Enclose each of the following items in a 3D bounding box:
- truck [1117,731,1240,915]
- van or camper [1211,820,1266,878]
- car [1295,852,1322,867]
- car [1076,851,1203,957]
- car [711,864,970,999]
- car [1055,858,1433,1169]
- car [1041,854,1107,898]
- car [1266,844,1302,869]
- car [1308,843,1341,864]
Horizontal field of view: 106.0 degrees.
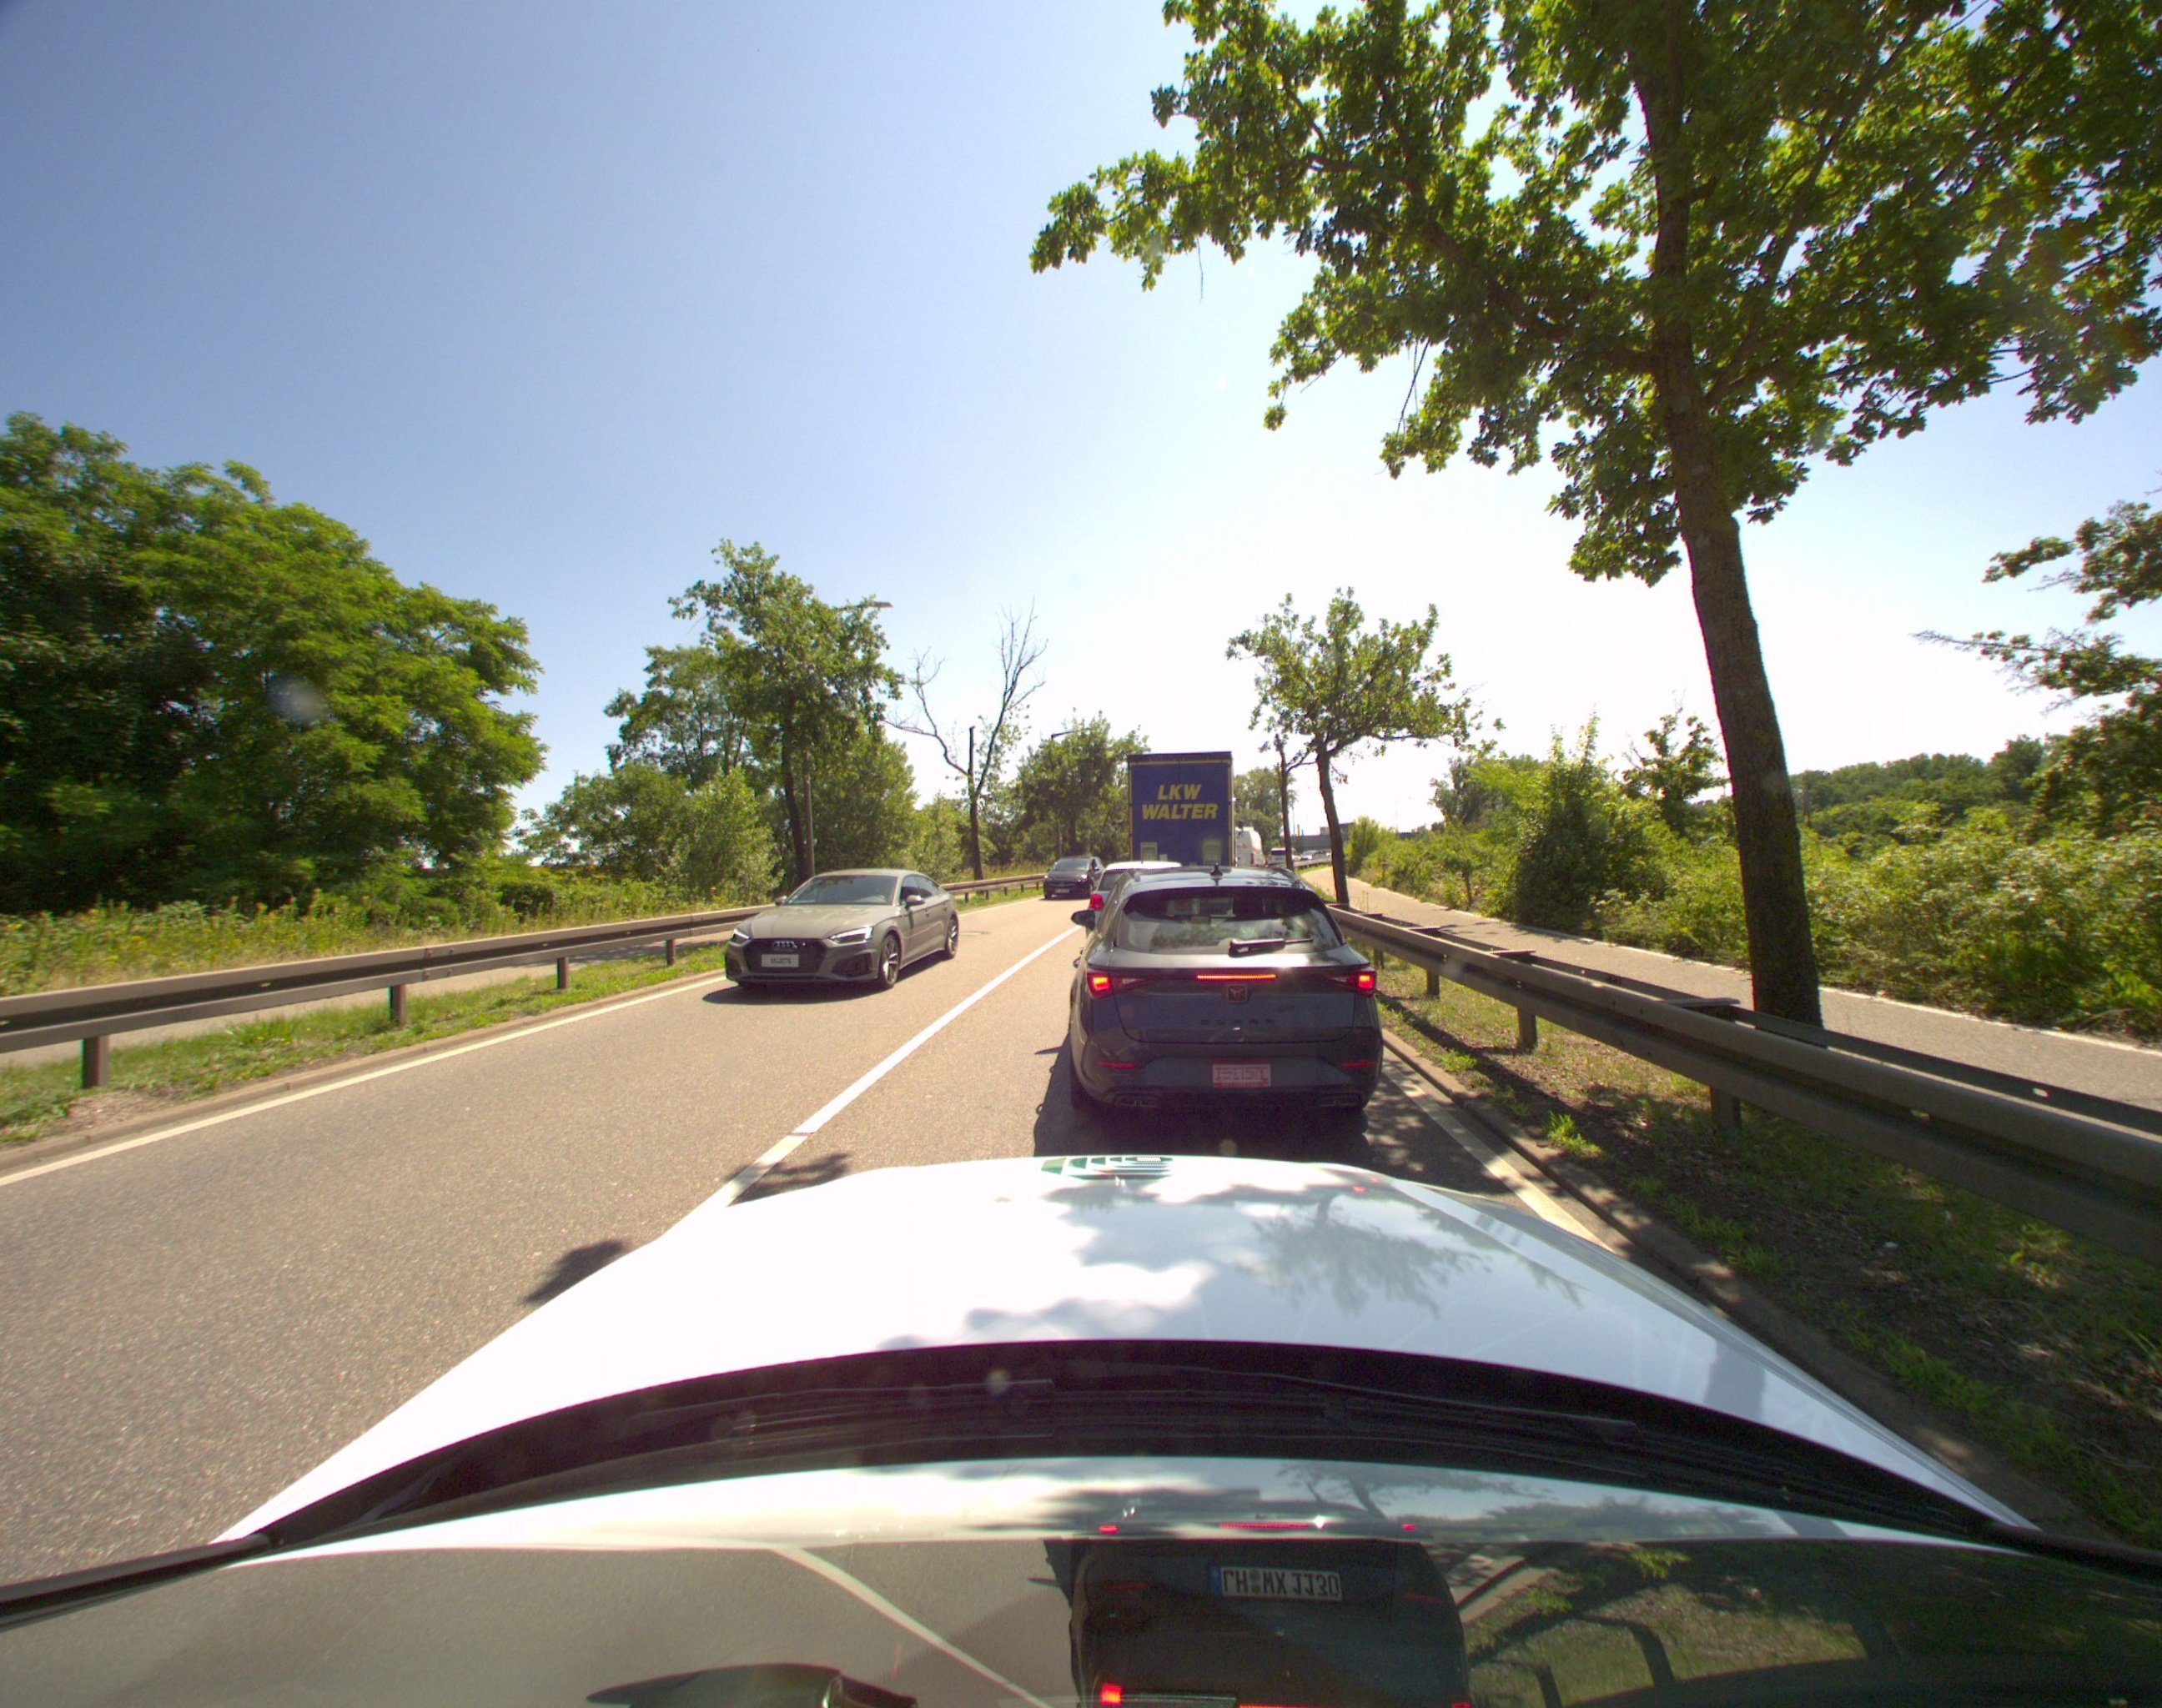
[{"bbox_3d":[3.944,-0.727,28.174,2.931,4.449,16.848,-1,0,11],"label":"truck"},{"bbox_3d":[8.813,-0.242,45.203,2.448,2.998,6.111,-1,0,16],"label":"van or camper"},{"bbox_3d":[23.015,0.499,82.276,1.655,1.466,3.844,-1,0,31],"label":"car"},{"bbox_3d":[0.962,0.723,13.649,1.801,1.508,4.004,-1,0,4],"label":"car"},{"bbox_3d":[-2.909,0.862,10.983,1.750,1.396,4.414,-1,0,6],"label":"car"},{"bbox_3d":[0.833,0.752,5.733,1.737,1.432,3.882,-1,0,2],"label":"car"},{"bbox_3d":[-0.188,0.760,29.534,1.660,1.466,3.831,-1,0,11],"label":"car"},{"bbox_3d":[14.558,0.184,58.263,1.977,1.712,4.643,-1,0,20],"label":"car"},{"bbox_3d":[21.561,-0.017,72.014,1.975,1.808,4.874,-1,0,26],"label":"car"}]
